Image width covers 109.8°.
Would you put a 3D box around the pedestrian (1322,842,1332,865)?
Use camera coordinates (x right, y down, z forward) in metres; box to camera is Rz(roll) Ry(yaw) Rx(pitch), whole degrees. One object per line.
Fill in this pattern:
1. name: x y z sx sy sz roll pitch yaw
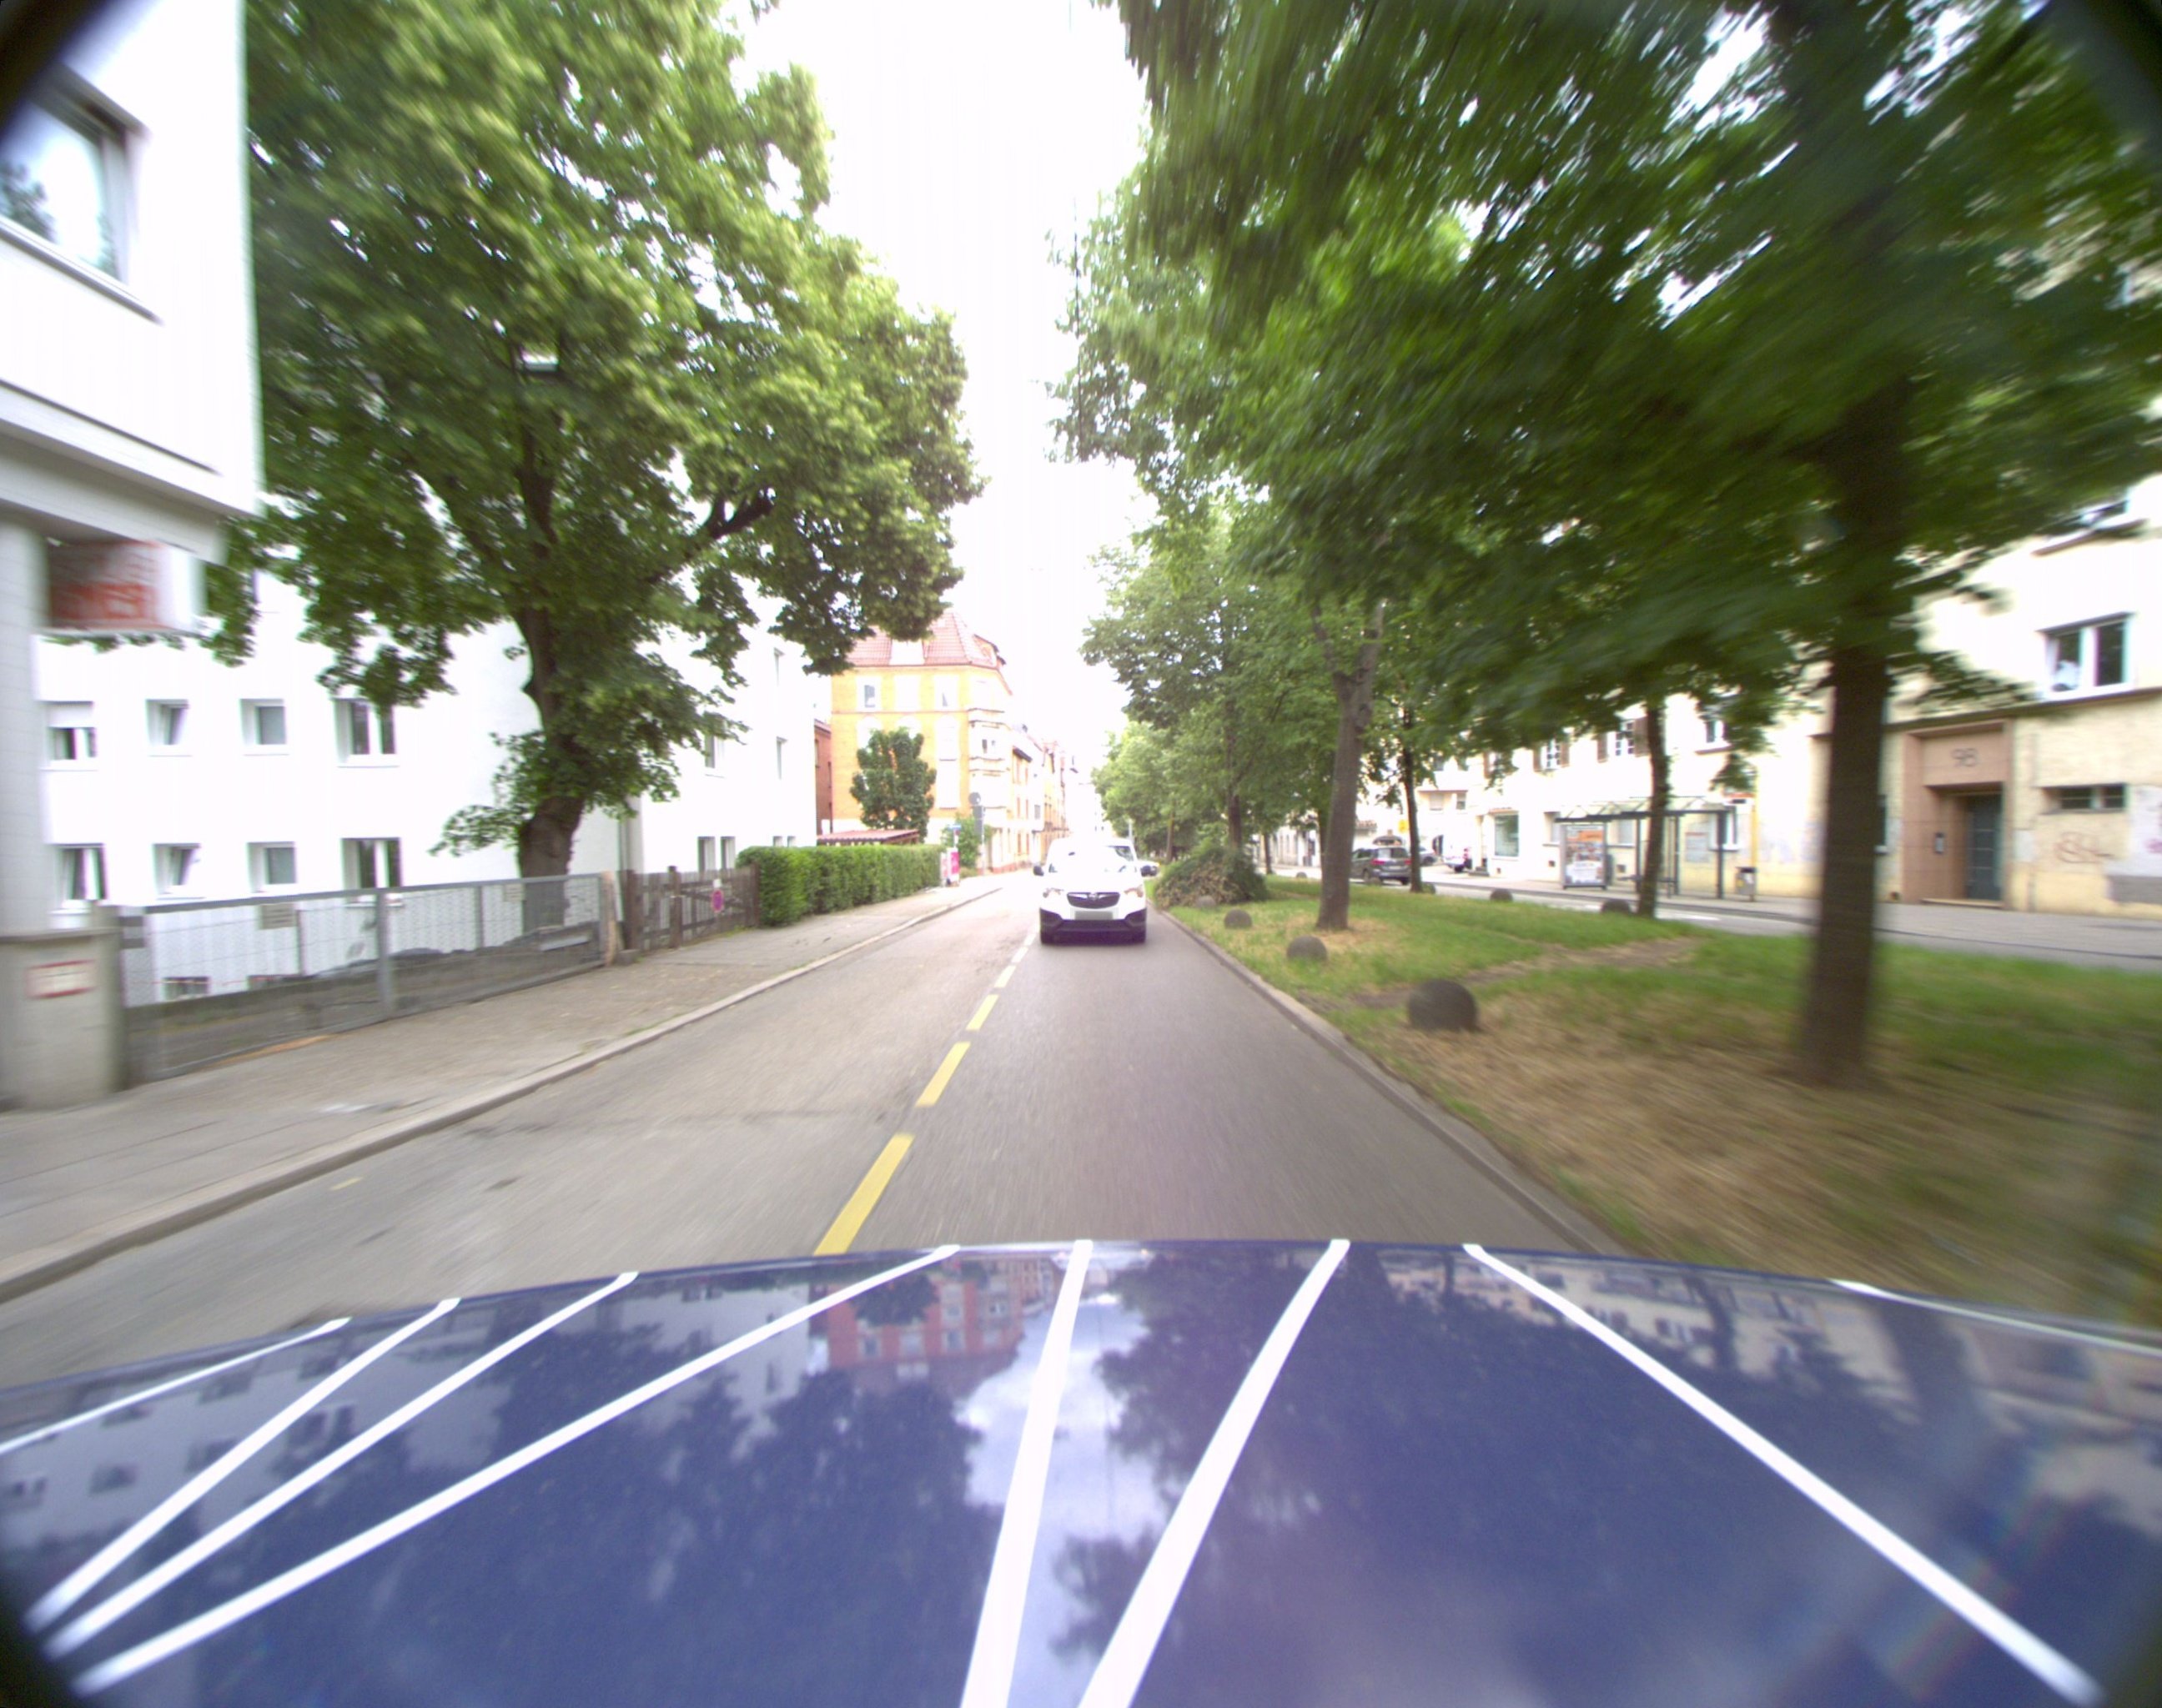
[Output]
1. pedestrian: 17.670 -0.023 54.542 0.533 1.656 0.701 -1 1 3

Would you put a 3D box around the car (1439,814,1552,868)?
1. car: 22.699 -0.702 41.687 5.190 2.721 2.175 -2 1 -10

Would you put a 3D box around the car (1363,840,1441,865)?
1. car: 21.332 -0.104 50.606 4.298 1.411 2.048 -3 0 3

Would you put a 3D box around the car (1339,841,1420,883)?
1. car: 12.715 0.329 32.618 1.953 1.619 4.366 -1 0 3

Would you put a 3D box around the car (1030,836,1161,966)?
1. car: 0.431 0.648 12.965 1.744 1.830 4.345 -1 1 7
